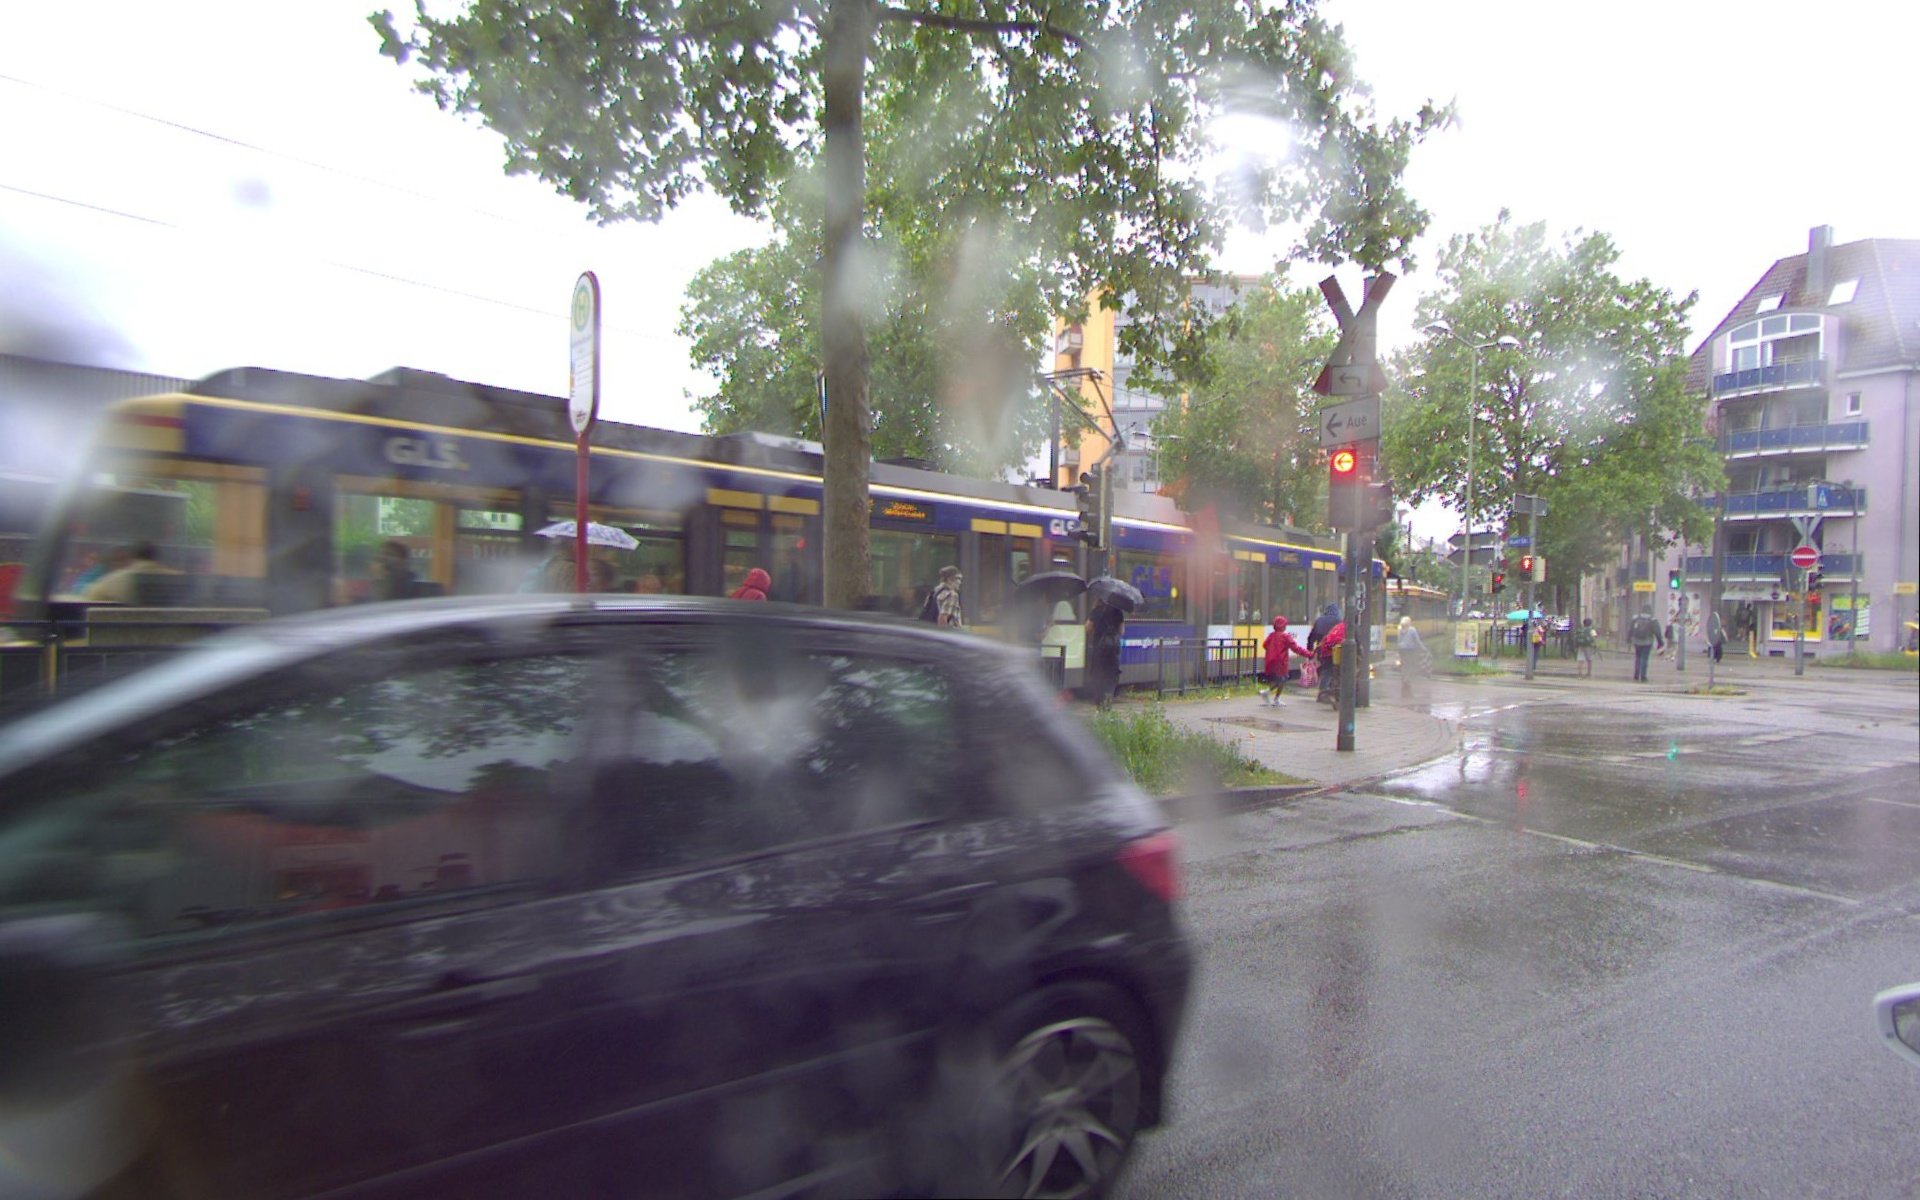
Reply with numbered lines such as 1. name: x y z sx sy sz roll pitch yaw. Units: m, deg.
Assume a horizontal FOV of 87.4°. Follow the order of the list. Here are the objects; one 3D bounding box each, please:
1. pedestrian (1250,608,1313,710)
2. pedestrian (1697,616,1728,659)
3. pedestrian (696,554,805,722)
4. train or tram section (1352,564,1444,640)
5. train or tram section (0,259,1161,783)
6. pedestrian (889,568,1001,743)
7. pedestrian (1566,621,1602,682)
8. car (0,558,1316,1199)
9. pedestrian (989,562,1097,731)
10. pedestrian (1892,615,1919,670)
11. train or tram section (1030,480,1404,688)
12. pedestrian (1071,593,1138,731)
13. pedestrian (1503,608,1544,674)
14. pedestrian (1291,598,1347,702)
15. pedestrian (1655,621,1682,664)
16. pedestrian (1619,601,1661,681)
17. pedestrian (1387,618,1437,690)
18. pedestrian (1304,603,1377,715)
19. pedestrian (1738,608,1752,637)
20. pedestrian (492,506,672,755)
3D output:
1. pedestrian: 5.032 0.902 15.733 0.653 1.540 0.677 1 0 -35
2. pedestrian: 28.172 1.401 37.600 0.785 1.553 0.743 2 0 -41
3. pedestrian: -2.072 0.366 9.975 0.783 1.593 0.659 -2 0 24
4. train or tram section: 25.921 0.254 58.733 2.839 3.818 17.211 2 0 30
5. train or tram section: -2.881 -0.433 12.778 2.830 3.593 15.280 2 0 44
6. pedestrian: -0.168 0.564 10.838 0.824 1.778 0.857 1 1 -41
7. pedestrian: 15.102 1.236 24.321 0.638 1.414 0.782 1 0 26
8. car: -1.040 0.697 2.492 3.707 1.479 1.704 2 0 -33
9. pedestrian: 0.972 0.522 11.820 0.885 1.889 0.861 1 1 -41
10. pedestrian: 38.461 1.710 40.652 0.896 2.179 0.884 2 0 34
11. train or tram section: 6.824 -0.188 23.526 2.826 3.593 13.652 2 0 40
12. pedestrian: 1.855 0.784 12.912 0.782 1.705 0.660 -2 0 8
13. pedestrian: 15.749 1.128 28.076 0.943 1.789 0.951 2 0 31
14. pedestrian: 6.088 0.841 17.080 0.823 1.721 0.689 -2 0 17
15. pedestrian: 27.151 1.614 38.500 0.666 1.622 0.962 2 0 45
16. pedestrian: 16.571 0.981 24.462 0.777 1.880 0.679 2 1 37
17. pedestrian: 8.859 1.042 19.697 0.704 1.367 0.650 1 1 -44
18. pedestrian: 5.790 0.868 15.288 0.809 1.646 0.724 0 0 -37
19. pedestrian: 36.892 1.043 47.195 0.439 1.347 0.558 2 0 43
20. pedestrian: -3.083 0.228 8.190 1.068 1.851 0.974 -1 0 -41
